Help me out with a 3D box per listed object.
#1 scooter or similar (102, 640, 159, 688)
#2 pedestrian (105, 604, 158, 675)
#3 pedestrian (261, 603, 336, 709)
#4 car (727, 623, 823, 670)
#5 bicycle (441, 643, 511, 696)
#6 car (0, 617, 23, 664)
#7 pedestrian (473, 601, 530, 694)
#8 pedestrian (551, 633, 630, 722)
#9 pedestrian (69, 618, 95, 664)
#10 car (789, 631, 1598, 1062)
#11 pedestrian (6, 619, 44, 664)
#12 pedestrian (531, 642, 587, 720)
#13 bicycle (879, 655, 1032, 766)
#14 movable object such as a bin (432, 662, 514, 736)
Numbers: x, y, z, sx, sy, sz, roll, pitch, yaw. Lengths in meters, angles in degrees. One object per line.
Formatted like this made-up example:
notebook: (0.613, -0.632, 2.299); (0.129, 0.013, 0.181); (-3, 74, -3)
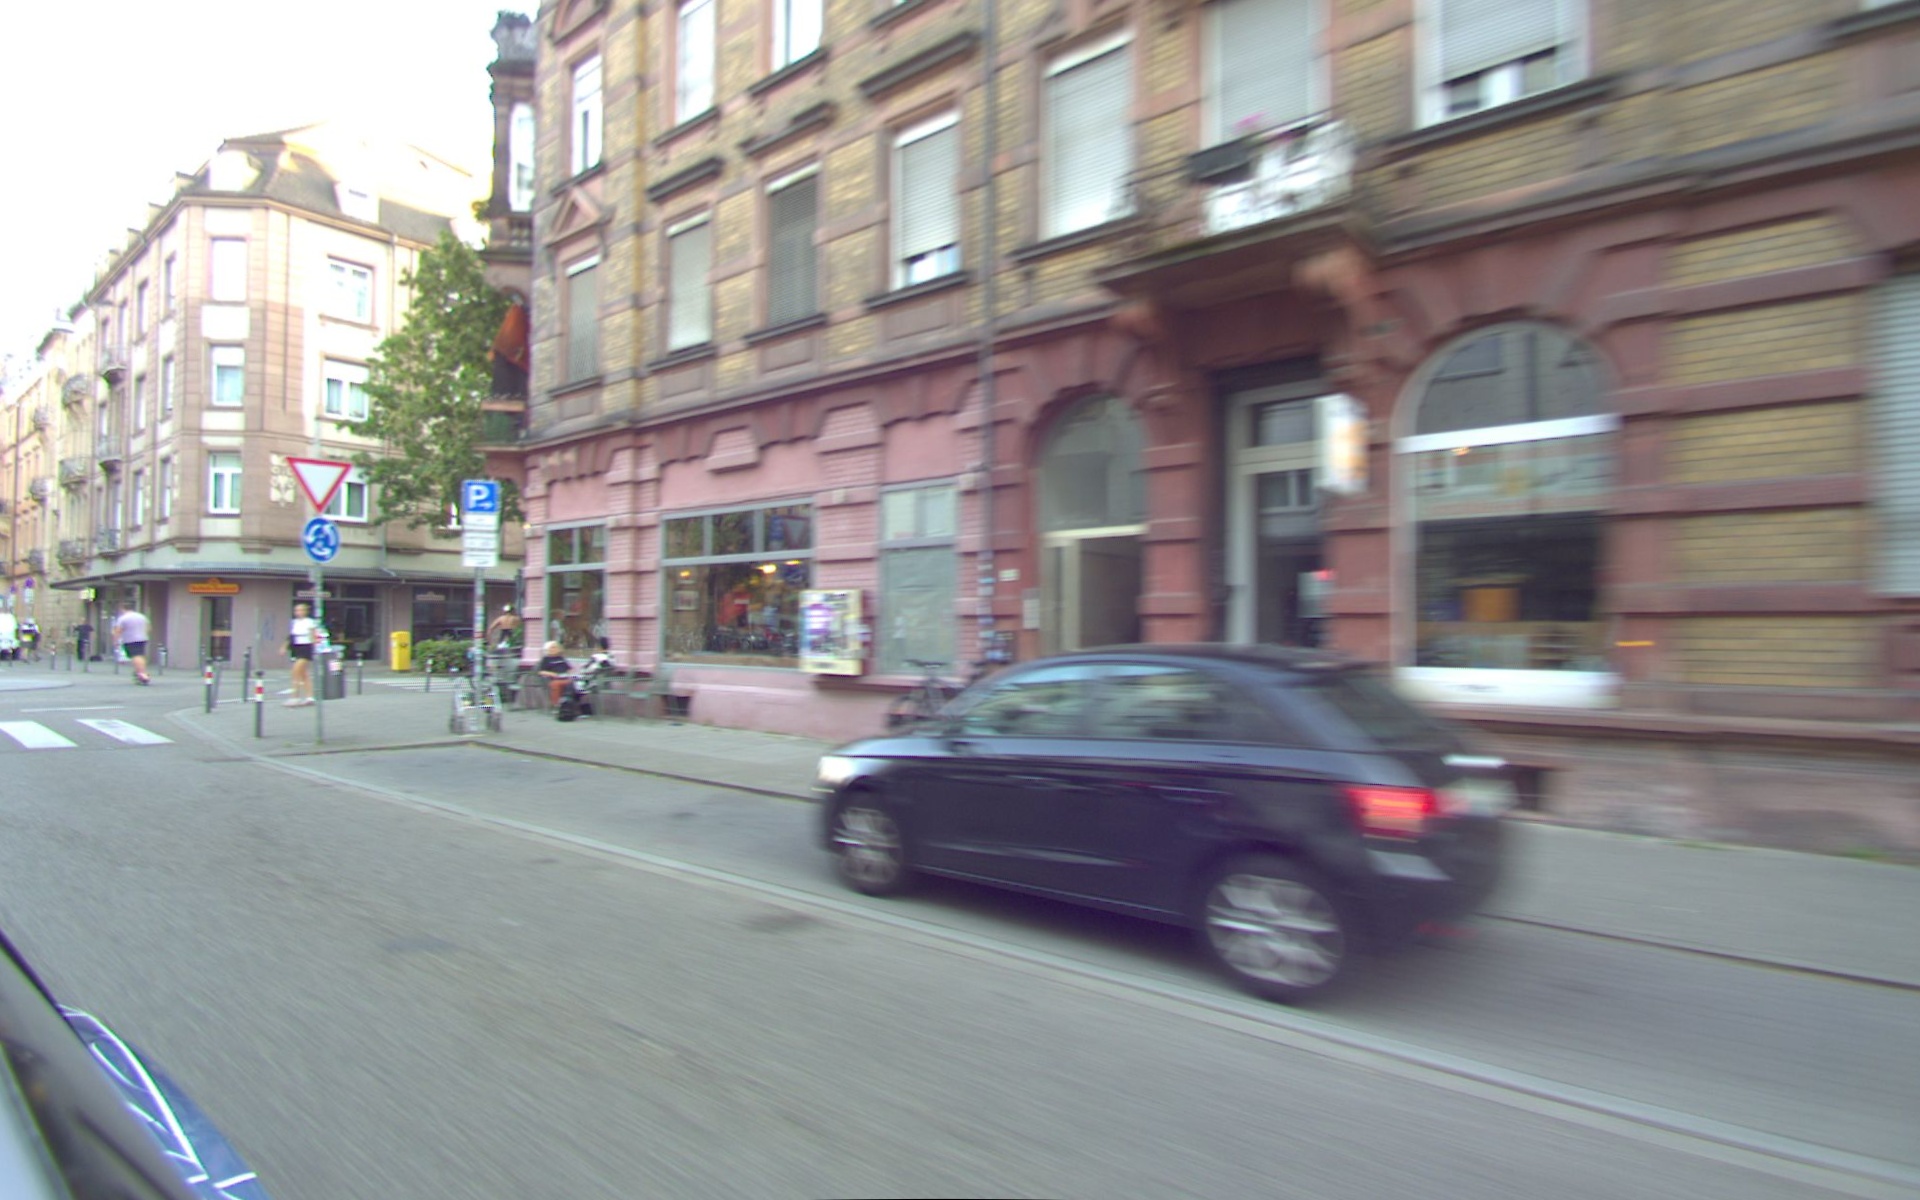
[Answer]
scooter or similar: (-19.974, 1.535, 24.372); (1.170, 1.112, 0.799); (-2, -3, 38)
pedestrian: (-19.949, 0.959, 24.377); (0.671, 1.673, 0.799); (-2, -4, 37)
pedestrian: (-11.828, 0.995, 18.086); (1.033, 1.825, 0.757); (0, -4, -41)
car: (-8.042, 1.988, 43.916); (3.997, 1.852, 1.973); (0, -2, 40)
bicycle: (-10.073, 1.430, 21.120); (0.604, 1.033, 1.775); (-2, -2, 0)
car: (-42.203, 1.740, 43.538); (4.764, 1.973, 2.115); (-1, -2, 39)
pedestrian: (-9.559, 0.982, 21.113); (0.715, 1.869, 1.022); (-2, -2, 0)
pedestrian: (-5.555, 1.150, 15.223); (0.903, 1.264, 0.644); (-2, 0, 25)
pedestrian: (-34.686, 1.604, 39.985); (0.645, 1.792, 0.694); (0, -2, -32)
car: (0.948, 0.894, 5.360); (3.854, 1.431, 1.675); (-2, -2, 43)
pedestrian: (-37.476, 1.661, 40.571); (0.736, 1.757, 1.217); (0, -1, -24)
pedestrian: (-6.278, 1.245, 15.825); (0.791, 1.152, 0.498); (0, -1, 42)
bicycle: (-0.087, 1.145, 10.879); (1.898, 1.061, 0.420); (-2, -2, 44)
movable object such as a bin: (-6.633, 1.332, 13.788); (0.728, 0.922, 0.754); (0, -1, 37)
